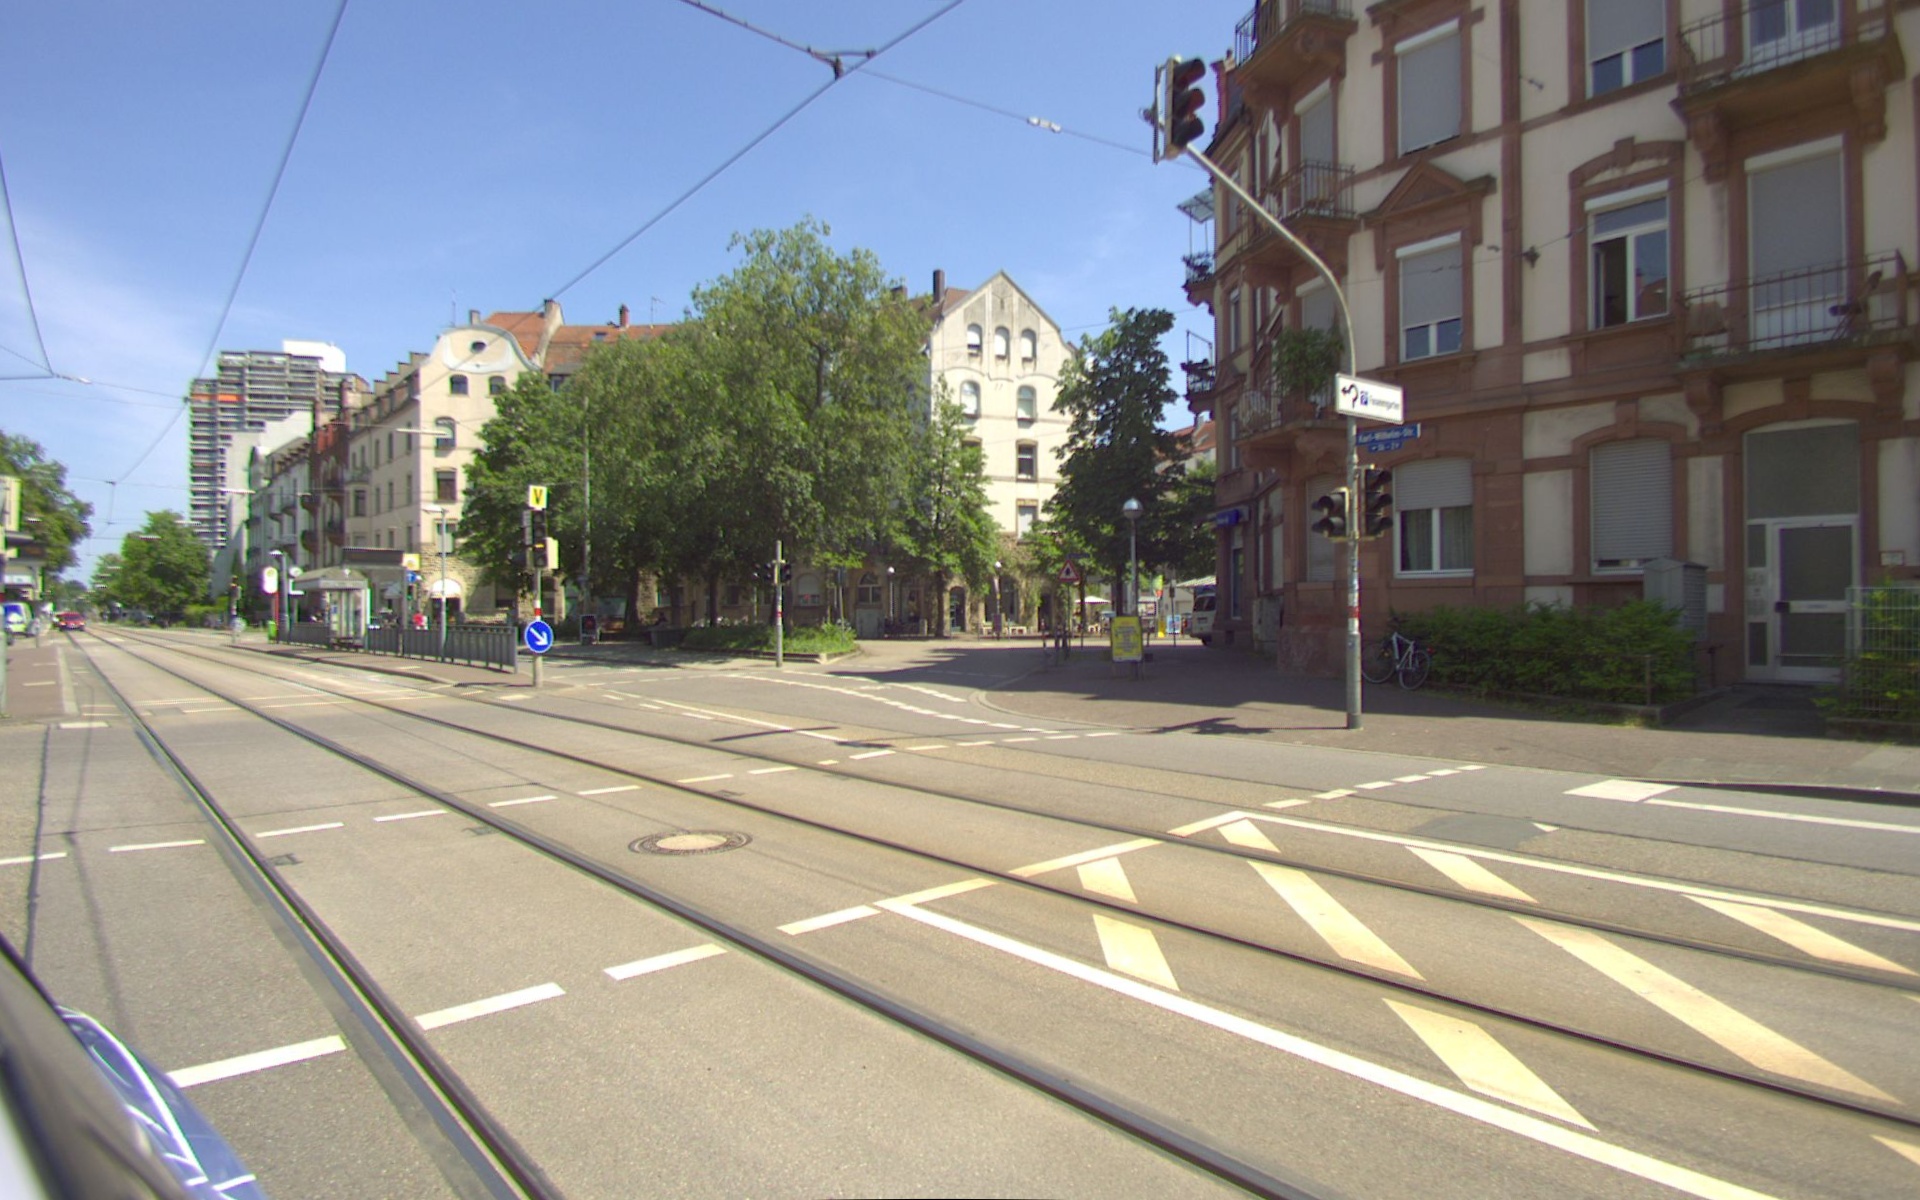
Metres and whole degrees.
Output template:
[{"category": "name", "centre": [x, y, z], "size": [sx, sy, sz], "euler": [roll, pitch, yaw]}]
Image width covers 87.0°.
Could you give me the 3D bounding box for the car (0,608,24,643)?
[{"category": "car", "centre": [-69.566, 1.821, 73.510], "size": [2.205, 2.511, 5.271], "euler": [1, -1, -44]}]

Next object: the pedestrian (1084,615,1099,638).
[{"category": "pedestrian", "centre": [7.974, 1.590, 61.409], "size": [0.691, 1.360, 0.605], "euler": [0, -2, -31]}]

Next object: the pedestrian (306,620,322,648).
[{"category": "pedestrian", "centre": [-41.347, 2.184, 64.743], "size": [0.796, 1.733, 0.765], "euler": [0, -1, -27]}]

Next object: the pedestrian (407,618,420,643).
[{"category": "pedestrian", "centre": [-31.553, 1.753, 58.422], "size": [0.520, 1.452, 0.530], "euler": [-1, -1, 38]}]

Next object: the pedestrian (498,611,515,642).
[{"category": "pedestrian", "centre": [-21.282, 1.231, 47.487], "size": [0.520, 1.452, 0.530], "euler": [-1, -1, 38]}]

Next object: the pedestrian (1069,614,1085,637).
[{"category": "pedestrian", "centre": [6.988, 1.511, 60.400], "size": [0.702, 1.360, 0.595], "euler": [-2, -2, 41]}]

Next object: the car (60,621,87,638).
[{"category": "car", "centre": [-83.987, 2.796, 95.826], "size": [1.712, 1.564, 4.427], "euler": [0, -2, -44]}]

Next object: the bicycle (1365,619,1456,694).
[{"category": "bicycle", "centre": [7.229, 0.875, 16.323], "size": [0.460, 1.116, 1.925], "euler": [-1, -1, -4]}]

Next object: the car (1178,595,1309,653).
[{"category": "car", "centre": [10.815, 0.875, 38.565], "size": [4.509, 2.082, 2.007], "euler": [0, -1, -23]}]

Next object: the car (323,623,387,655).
[{"category": "car", "centre": [-26.442, 1.677, 44.219], "size": [1.672, 1.320, 3.853], "euler": [0, -1, -42]}]

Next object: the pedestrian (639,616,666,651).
[{"category": "pedestrian", "centre": [-11.997, 1.298, 39.478], "size": [0.810, 1.327, 0.654], "euler": [0, -1, -36]}]
